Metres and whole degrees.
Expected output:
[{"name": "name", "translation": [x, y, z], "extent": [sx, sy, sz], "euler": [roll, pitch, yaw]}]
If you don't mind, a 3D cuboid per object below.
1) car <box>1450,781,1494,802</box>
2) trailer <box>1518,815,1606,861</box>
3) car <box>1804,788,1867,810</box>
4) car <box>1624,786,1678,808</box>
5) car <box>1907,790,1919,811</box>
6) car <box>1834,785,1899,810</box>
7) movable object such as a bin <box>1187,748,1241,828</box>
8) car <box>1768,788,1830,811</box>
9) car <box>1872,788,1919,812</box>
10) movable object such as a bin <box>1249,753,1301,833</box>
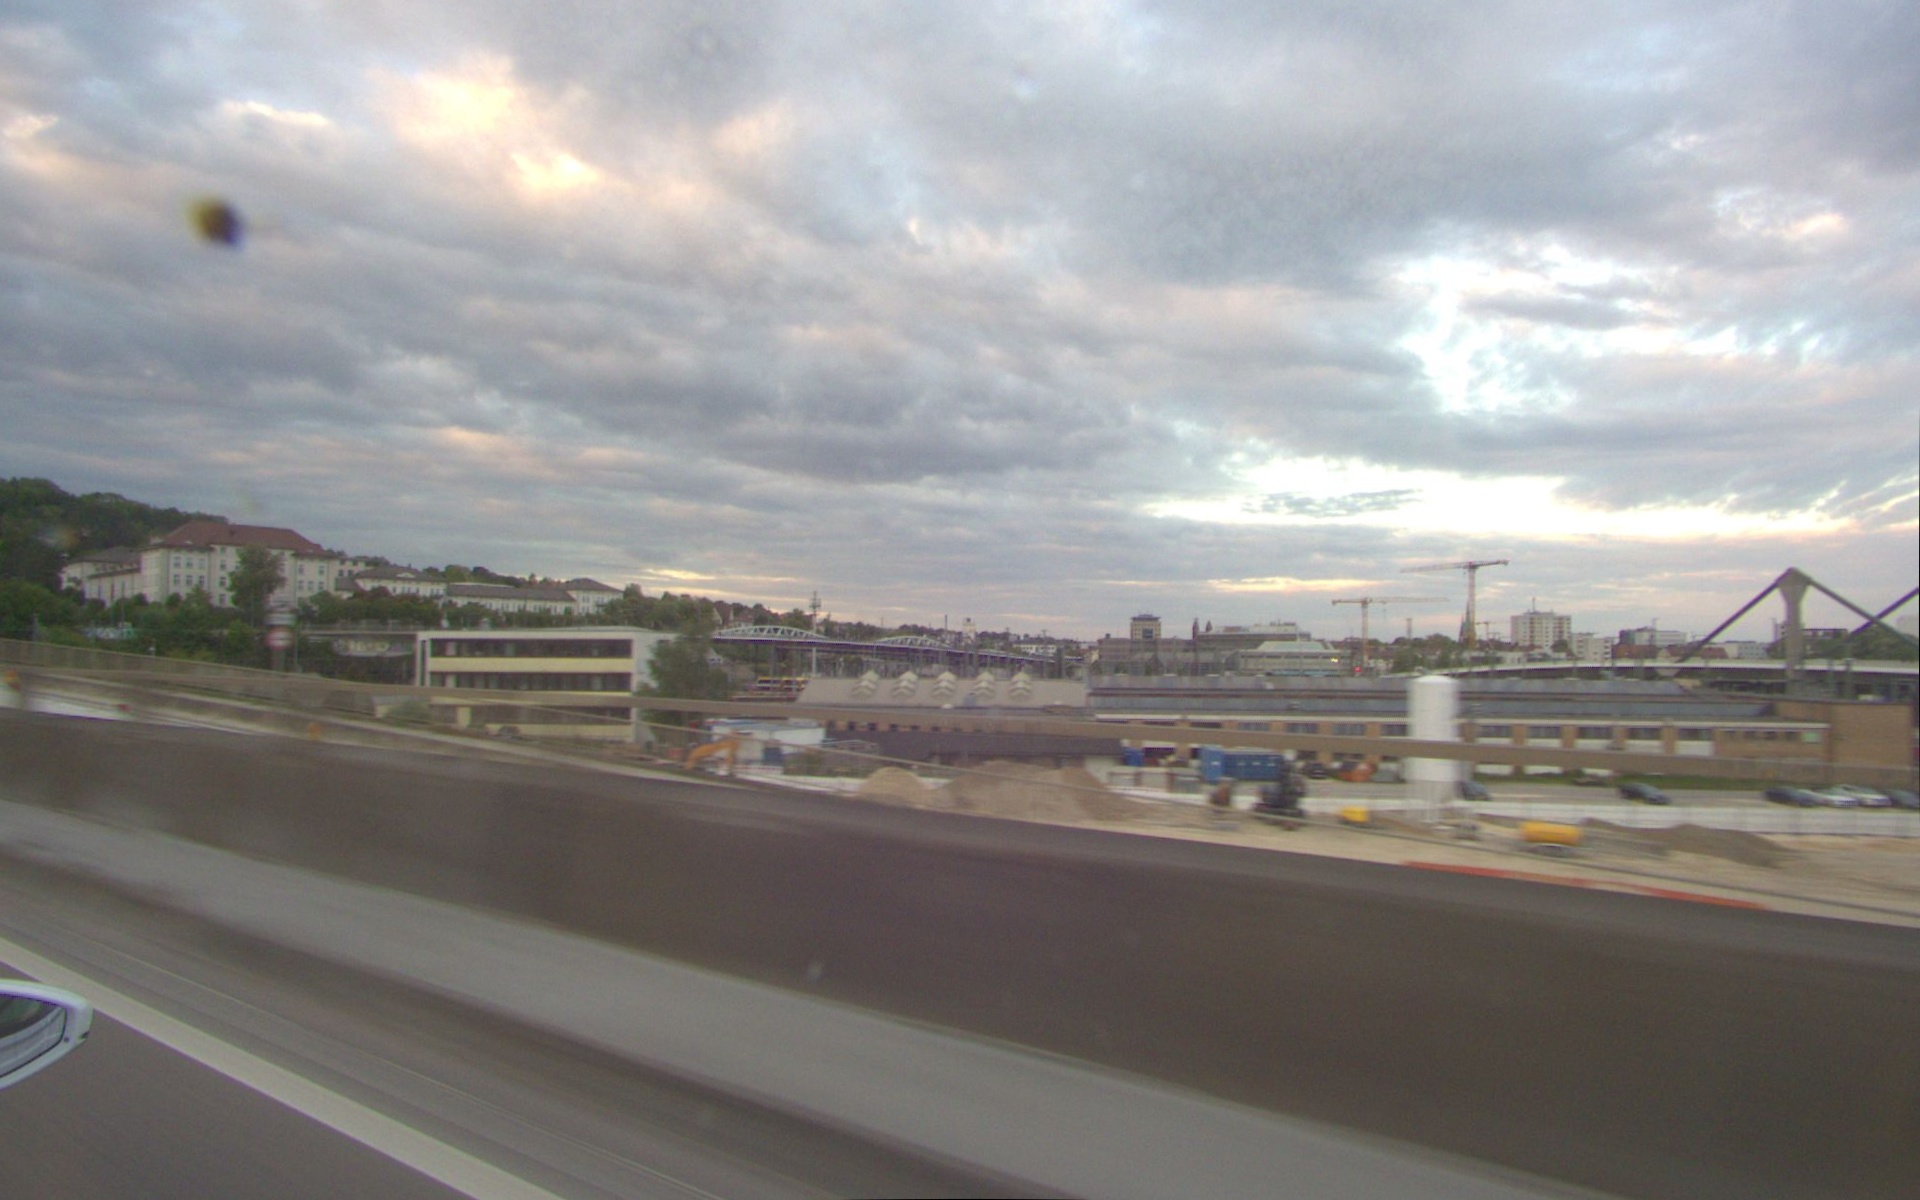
[{"name": "car", "translation": [44.102, 16.498, 86.367], "extent": [1.835, 1.435, 4.010], "euler": [4, -7, 2]}, {"name": "trailer", "translation": [31.617, 12.493, 52.672], "extent": [3.782, 1.823, 1.998], "euler": [1, -7, 26]}, {"name": "car", "translation": [73.104, 16.595, 83.672], "extent": [1.835, 1.435, 4.010], "euler": [4, -7, 2]}, {"name": "car", "translation": [58.247, 16.595, 84.519], "extent": [1.835, 1.435, 4.010], "euler": [4, -7, 2]}, {"name": "car", "translation": [81.002, 16.718, 82.649], "extent": [1.835, 1.669, 4.010], "euler": [4, -7, 2]}, {"name": "car", "translation": [75.728, 16.481, 83.748], "extent": [1.835, 1.733, 4.010], "euler": [4, -7, 2]}, {"name": "movable object such as a bin", "translation": [15.535, 11.320, 60.968], "extent": [2.734, 4.356, 4.961], "euler": [2, -7, 18]}, {"name": "car", "translation": [70.310, 16.708, 83.979], "extent": [1.835, 1.435, 4.010], "euler": [4, -7, 2]}, {"name": "car", "translation": [78.400, 16.593, 83.037], "extent": [1.835, 1.669, 4.010], "euler": [4, -7, 2]}, {"name": "movable object such as a bin", "translation": [19.116, 11.627, 60.817], "extent": [2.734, 4.356, 4.961], "euler": [2, -7, 18]}]
